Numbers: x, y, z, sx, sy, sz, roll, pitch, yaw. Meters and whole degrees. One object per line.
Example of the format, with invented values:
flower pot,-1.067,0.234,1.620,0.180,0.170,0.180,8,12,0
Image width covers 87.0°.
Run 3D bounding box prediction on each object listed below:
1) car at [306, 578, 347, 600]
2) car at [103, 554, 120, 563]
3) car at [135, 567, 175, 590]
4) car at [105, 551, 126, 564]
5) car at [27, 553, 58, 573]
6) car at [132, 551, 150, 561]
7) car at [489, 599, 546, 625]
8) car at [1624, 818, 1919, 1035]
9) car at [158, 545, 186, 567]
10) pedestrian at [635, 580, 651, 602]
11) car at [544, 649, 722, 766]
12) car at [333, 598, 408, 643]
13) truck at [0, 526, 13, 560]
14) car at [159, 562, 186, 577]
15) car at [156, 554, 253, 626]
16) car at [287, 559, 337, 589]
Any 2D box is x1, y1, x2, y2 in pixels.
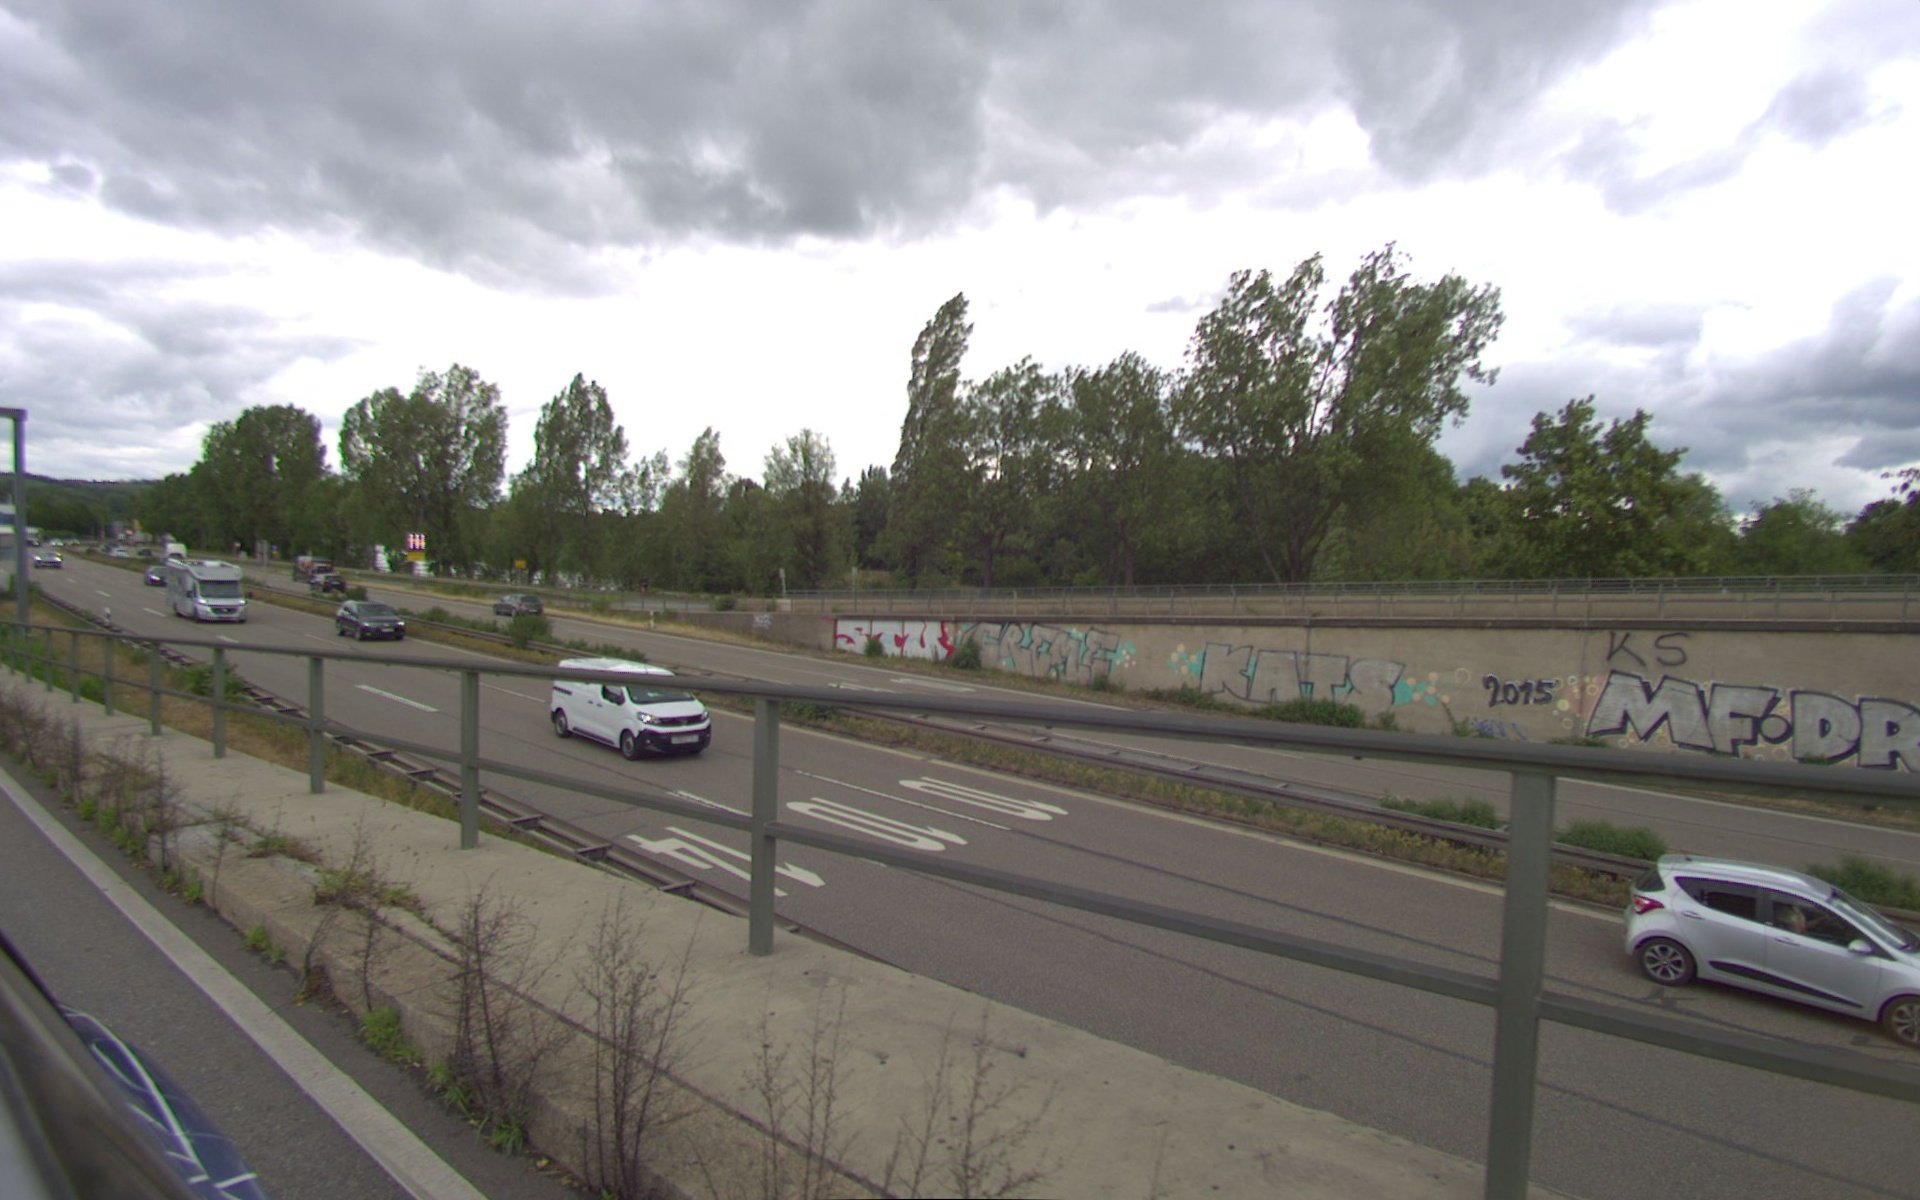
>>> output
car,-49.876,-0.897,79.677,3.858,1.512,1.646,5,2,41
car,-161.941,-7.939,193.156,3.931,1.662,1.878,3,3,41
car,-61.496,-1.620,77.290,4.219,1.581,1.731,4,3,41
car,-118.991,-5.998,142.564,3.931,1.662,1.739,5,3,41
car,-89.780,-3.595,99.002,4.278,1.813,1.821,0,0,42
car,-144.164,-7.744,178.114,3.930,1.662,1.878,0,1,41
car,-27.952,0.749,63.860,4.109,1.386,1.693,4,2,41
car,10.272,3.877,12.086,3.681,1.564,1.540,4,3,41
car,-115.862,-6.482,148.824,5.360,2.800,2.187,5,2,41
pedestrian,-26.508,-0.753,84.592,1.077,1.717,0.821,4,4,41
car,-7.882,2.419,24.094,4.899,1.949,1.928,5,4,44
car,-26.945,0.907,46.188,4.281,1.726,1.820,5,3,44
truck,-125.641,-7.478,131.684,6.696,4.282,2.723,4,2,41
car,-100.444,-3.947,129.036,4.333,1.662,1.878,4,2,41
car,-38.459,-0.568,51.427,7.658,3.264,2.336,4,1,41
car,-60.758,-2.417,94.860,6.111,2.565,2.221,4,3,41
